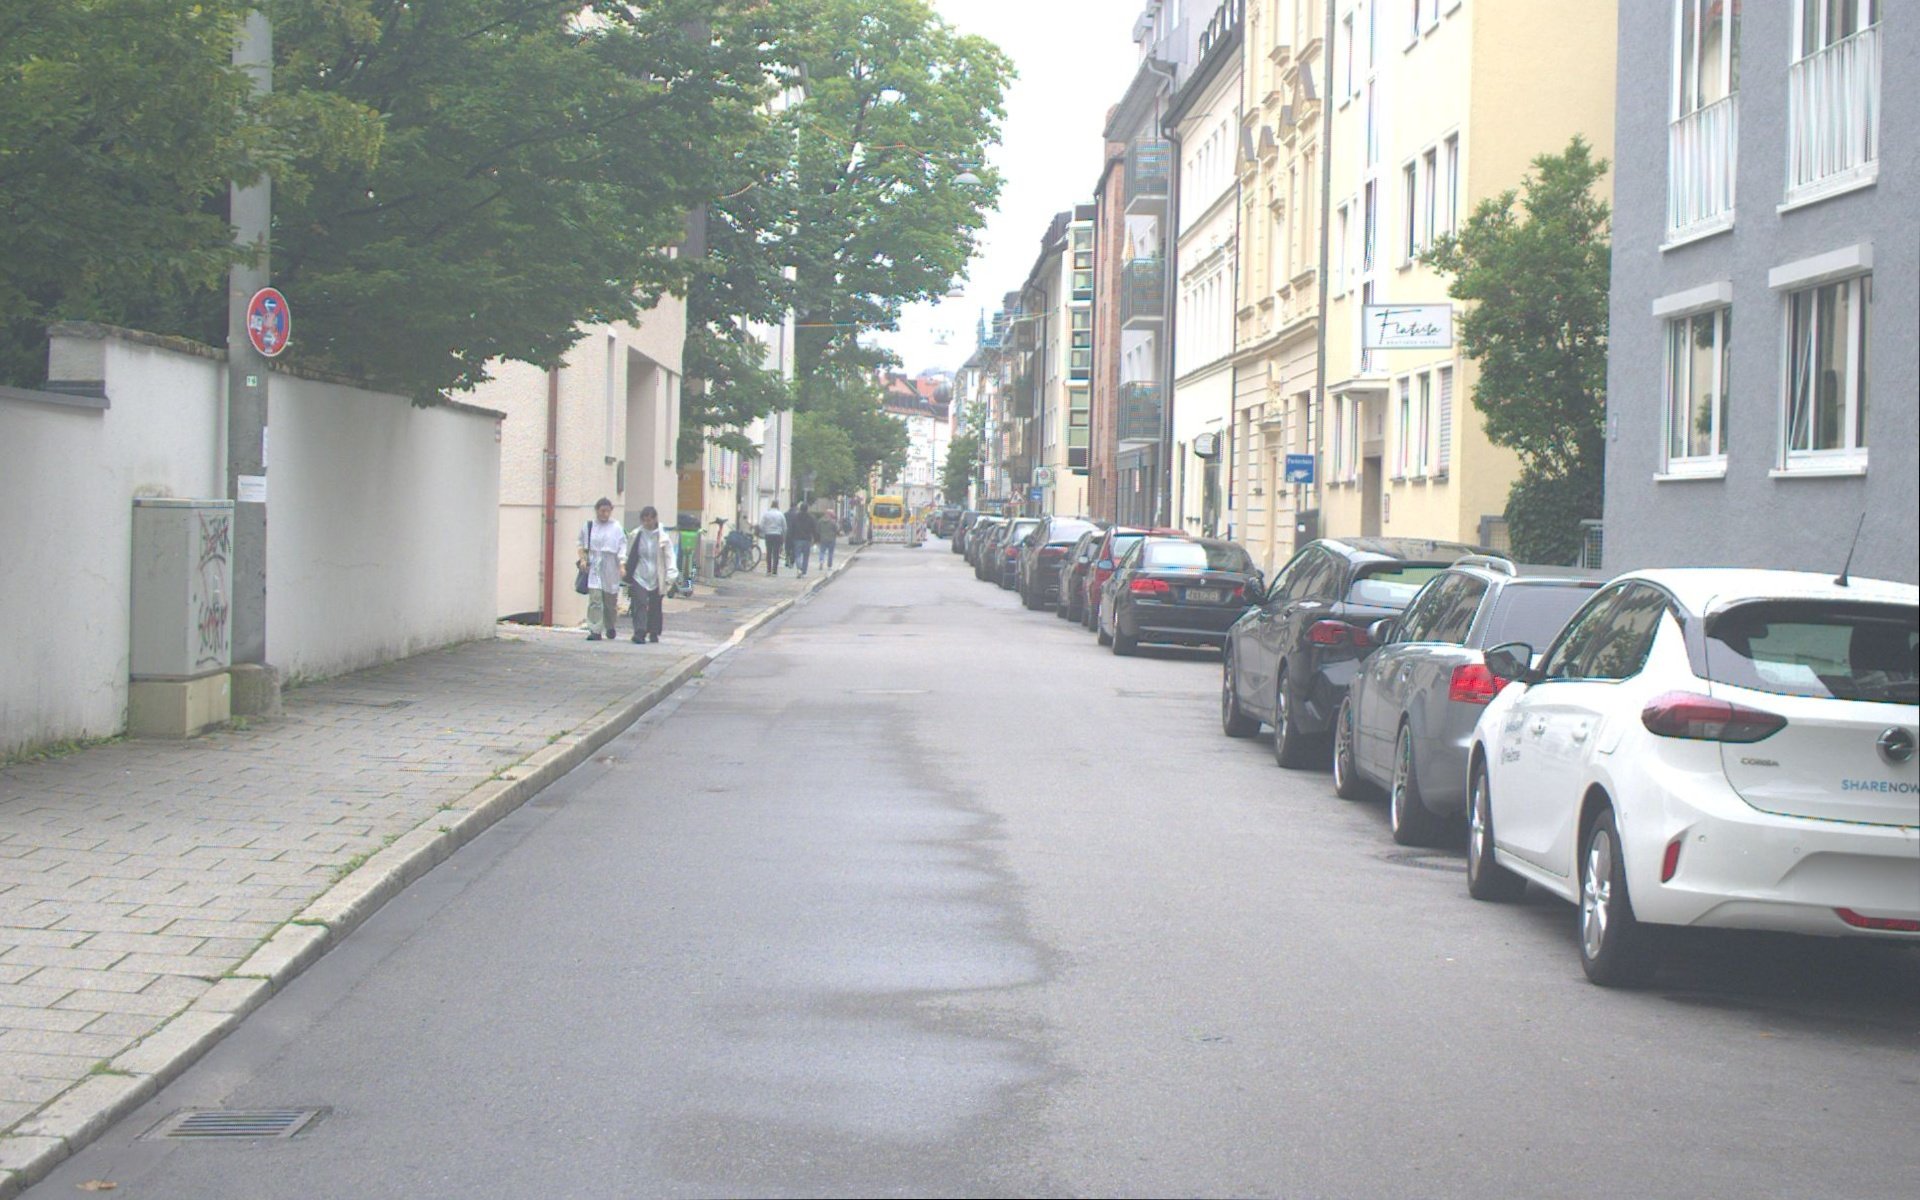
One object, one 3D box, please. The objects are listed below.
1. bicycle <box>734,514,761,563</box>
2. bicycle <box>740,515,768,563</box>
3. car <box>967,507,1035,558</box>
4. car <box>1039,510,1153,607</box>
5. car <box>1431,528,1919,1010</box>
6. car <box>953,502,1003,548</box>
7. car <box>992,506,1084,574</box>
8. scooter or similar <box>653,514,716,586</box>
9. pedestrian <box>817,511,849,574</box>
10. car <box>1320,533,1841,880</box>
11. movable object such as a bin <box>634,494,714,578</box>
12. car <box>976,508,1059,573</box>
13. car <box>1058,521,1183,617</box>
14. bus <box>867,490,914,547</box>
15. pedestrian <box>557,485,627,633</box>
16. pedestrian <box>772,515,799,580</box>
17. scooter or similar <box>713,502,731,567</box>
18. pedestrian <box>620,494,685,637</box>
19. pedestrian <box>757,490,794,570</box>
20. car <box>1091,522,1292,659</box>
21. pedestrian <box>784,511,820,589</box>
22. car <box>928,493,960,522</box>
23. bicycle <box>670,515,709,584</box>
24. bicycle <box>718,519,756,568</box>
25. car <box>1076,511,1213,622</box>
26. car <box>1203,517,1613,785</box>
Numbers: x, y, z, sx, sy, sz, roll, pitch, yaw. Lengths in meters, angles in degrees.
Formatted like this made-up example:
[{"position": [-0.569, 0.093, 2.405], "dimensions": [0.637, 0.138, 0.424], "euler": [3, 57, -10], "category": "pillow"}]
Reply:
[{"position": [-5.104, -1.477, 82.589], "dimensions": [0.458, 1.155, 1.605], "euler": [4, 1, 0], "category": "bicycle"}, {"position": [-5.052, -1.508, 84.305], "dimensions": [0.561, 1.155, 1.721], "euler": [1, 1, -7], "category": "bicycle"}, {"position": [1.301, -2.181, 110.920], "dimensions": [1.885, 1.550, 4.392], "euler": [2, 1, -3], "category": "car"}, {"position": [2.373, -0.766, 60.909], "dimensions": [1.702, 1.601, 4.685], "euler": [1, 2, -1], "category": "car"}, {"position": [3.046, 0.531, 13.179], "dimensions": [1.769, 1.440, 4.345], "euler": [5, 2, 0], "category": "car"}, {"position": [0.766, -3.227, 147.548], "dimensions": [1.801, 1.814, 4.001], "euler": [5, 1, -3], "category": "car"}, {"position": [1.814, -1.433, 81.334], "dimensions": [1.875, 1.565, 4.317], "euler": [0, 1, -3], "category": "car"}, {"position": [-4.588, -0.828, 57.323], "dimensions": [0.552, 1.140, 1.357], "euler": [4, 1, 16], "category": "scooter or similar"}, {"position": [-3.415, -1.558, 92.542], "dimensions": [0.753, 1.653, 0.906], "euler": [3, 1, -1], "category": "pedestrian"}, {"position": [3.053, 0.442, 17.869], "dimensions": [1.790, 1.396, 4.485], "euler": [5, 2, 0], "category": "car"}, {"position": [-5.380, -1.216, 64.757], "dimensions": [1.174, 1.437, 1.248], "euler": [6, 3, 5], "category": "movable object such as a bin"}, {"position": [1.420, -1.504, 86.216], "dimensions": [1.839, 1.523, 4.293], "euler": [2, 1, -2], "category": "car"}, {"position": [2.493, -0.522, 54.245], "dimensions": [1.676, 1.388, 4.066], "euler": [1, 2, -1], "category": "car"}, {"position": [-3.881, -4.569, 193.451], "dimensions": [2.592, 3.091, 6.306], "euler": [0, 1, -1], "category": "bus"}, {"position": [-4.141, -0.470, 38.740], "dimensions": [0.613, 1.615, 0.687], "euler": [4, 1, -1], "category": "pedestrian"}, {"position": [-4.704, -1.424, 92.724], "dimensions": [0.612, 1.707, 0.823], "euler": [3, 1, -1], "category": "pedestrian"}, {"position": [-5.035, -1.382, 72.713], "dimensions": [0.317, 1.371, 1.239], "euler": [0, 1, -1], "category": "scooter or similar"}, {"position": [-3.478, -0.396, 38.909], "dimensions": [0.622, 1.573, 0.714], "euler": [2, 1, -1], "category": "pedestrian"}, {"position": [-4.259, -1.610, 79.319], "dimensions": [0.718, 1.790, 0.917], "euler": [3, 1, -1], "category": "pedestrian"}, {"position": [2.636, -0.156, 40.067], "dimensions": [1.825, 1.330, 4.509], "euler": [5, 2, -1], "category": "car"}, {"position": [-3.649, -1.151, 79.339], "dimensions": [0.718, 1.759, 0.838], "euler": [3, 1, -1], "category": "pedestrian"}, {"position": [-1.036, -6.082, 225.440], "dimensions": [1.801, 1.706, 3.827], "euler": [5, 1, -3], "category": "car"}, {"position": [-4.667, -0.882, 59.387], "dimensions": [0.544, 1.157, 1.882], "euler": [3, 1, -3], "category": "bicycle"}, {"position": [-4.835, -1.227, 74.451], "dimensions": [0.703, 0.981, 1.823], "euler": [5, 1, -5], "category": "bicycle"}, {"position": [2.624, -0.514, 49.644], "dimensions": [1.676, 1.487, 3.854], "euler": [1, 2, -1], "category": "car"}, {"position": [2.838, 0.257, 22.728], "dimensions": [1.841, 1.423, 4.265], "euler": [5, 2, -3], "category": "car"}]
